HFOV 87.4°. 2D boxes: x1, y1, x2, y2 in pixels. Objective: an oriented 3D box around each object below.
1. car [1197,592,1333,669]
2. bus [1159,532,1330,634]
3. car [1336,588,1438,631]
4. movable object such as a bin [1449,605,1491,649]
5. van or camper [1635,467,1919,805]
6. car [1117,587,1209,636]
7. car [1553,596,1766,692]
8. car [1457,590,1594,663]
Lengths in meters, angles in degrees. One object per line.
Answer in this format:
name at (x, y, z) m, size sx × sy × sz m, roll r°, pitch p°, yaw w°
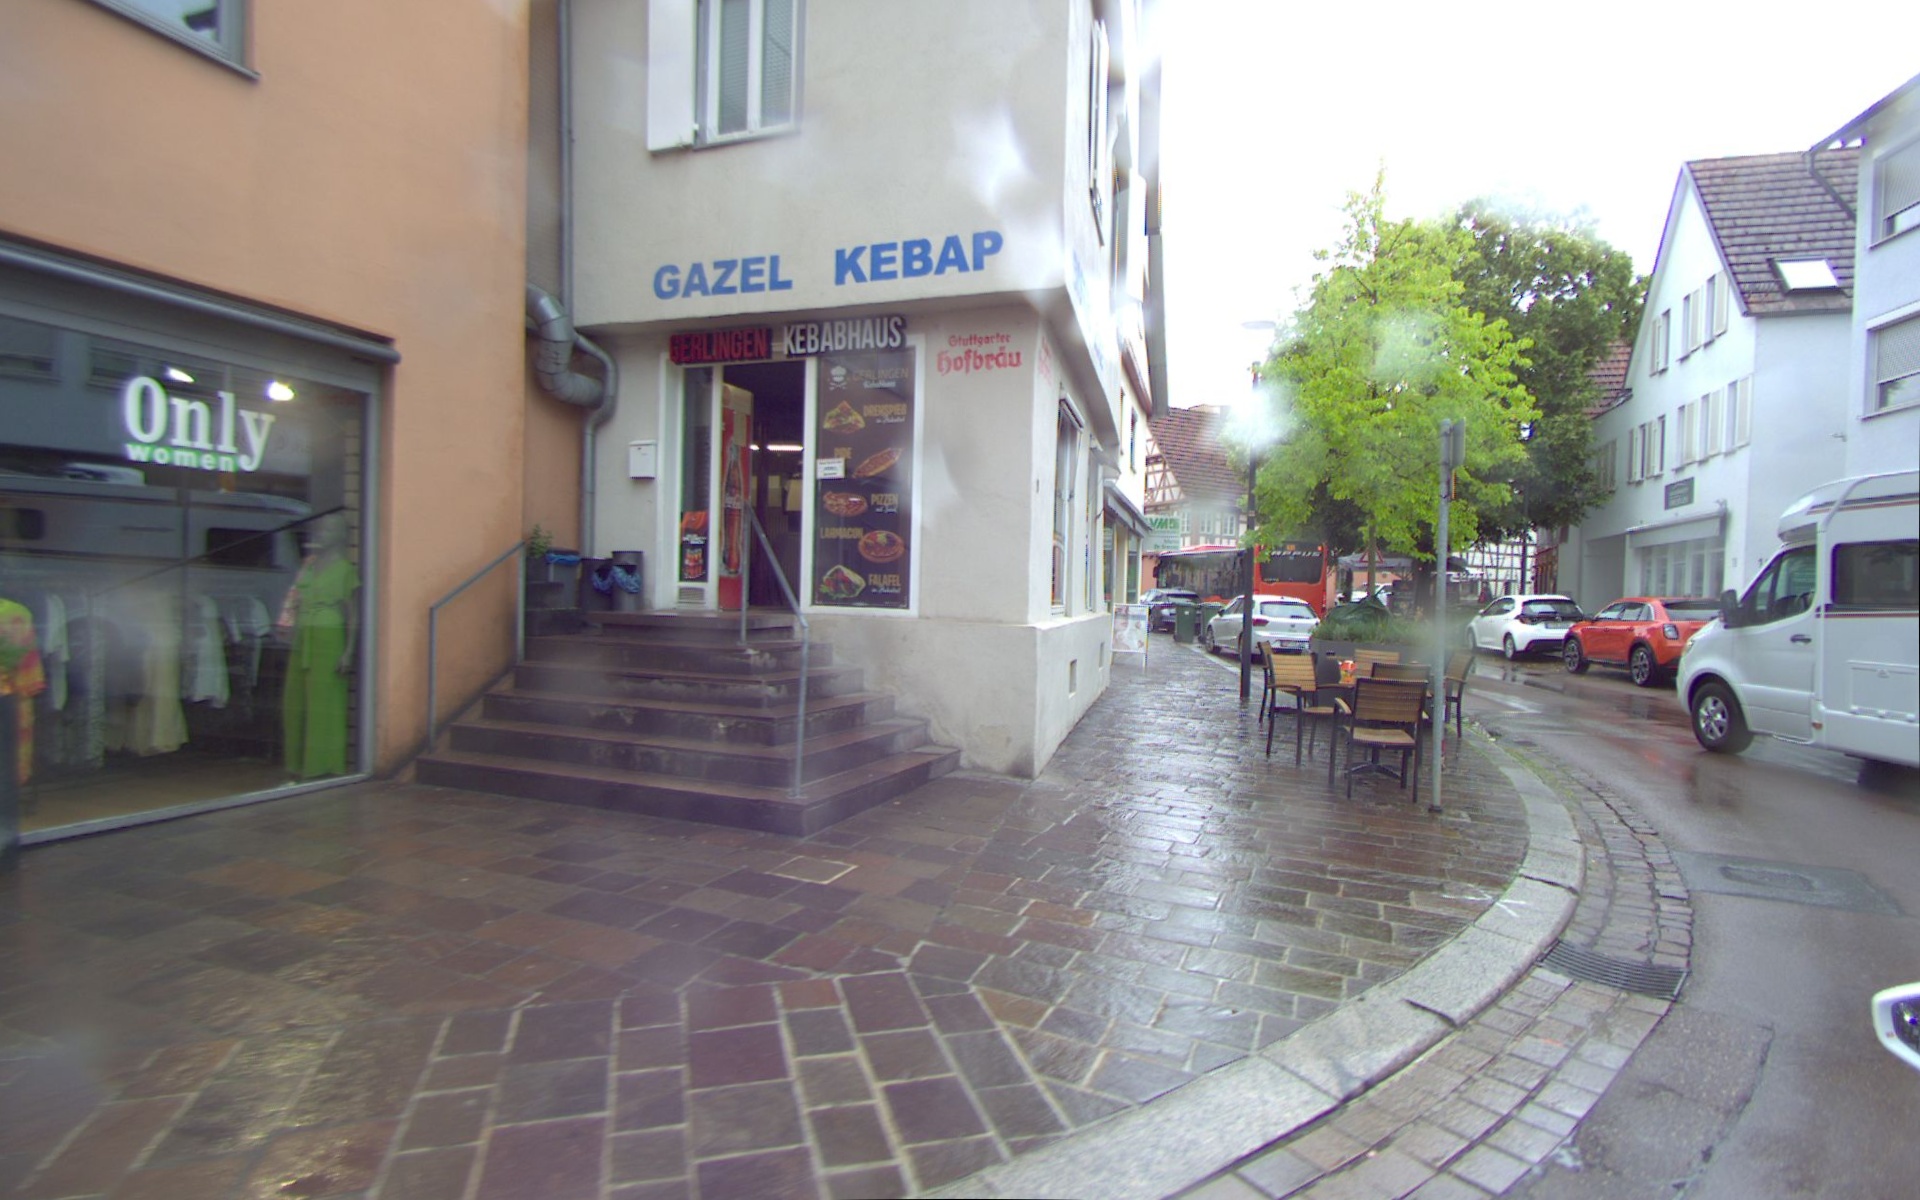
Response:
car at (6.760, 0.612, 22.696) m, size 1.693 × 1.433 × 3.979 m, roll 3°, pitch 1°, yaw -2°
bus at (9.883, -0.565, 36.471) m, size 2.767 × 3.130 × 10.602 m, roll 0°, pitch 0°, yaw -3°
car at (16.355, 0.354, 38.591) m, size 3.467 × 1.498 × 1.582 m, roll 2°, pitch 0°, yaw 20°
movable object such as a bin at (13.767, 0.722, 27.116) m, size 0.819 × 1.127 × 0.561 m, roll 2°, pitch 0°, yaw 4°
van or camper at (8.643, 0.301, 7.827) m, size 2.397 × 2.620 × 6.752 m, roll 1°, pitch 1°, yaw 3°
car at (6.753, 0.353, 33.815) m, size 1.696 × 1.433 × 3.973 m, roll 2°, pitch 1°, yaw -9°
car at (12.644, 0.712, 18.456) m, size 1.648 × 1.549 × 3.801 m, roll 0°, pitch 1°, yaw 8°
car at (13.427, 0.565, 24.103) m, size 1.648 × 1.549 × 3.801 m, roll 0°, pitch 1°, yaw 9°
